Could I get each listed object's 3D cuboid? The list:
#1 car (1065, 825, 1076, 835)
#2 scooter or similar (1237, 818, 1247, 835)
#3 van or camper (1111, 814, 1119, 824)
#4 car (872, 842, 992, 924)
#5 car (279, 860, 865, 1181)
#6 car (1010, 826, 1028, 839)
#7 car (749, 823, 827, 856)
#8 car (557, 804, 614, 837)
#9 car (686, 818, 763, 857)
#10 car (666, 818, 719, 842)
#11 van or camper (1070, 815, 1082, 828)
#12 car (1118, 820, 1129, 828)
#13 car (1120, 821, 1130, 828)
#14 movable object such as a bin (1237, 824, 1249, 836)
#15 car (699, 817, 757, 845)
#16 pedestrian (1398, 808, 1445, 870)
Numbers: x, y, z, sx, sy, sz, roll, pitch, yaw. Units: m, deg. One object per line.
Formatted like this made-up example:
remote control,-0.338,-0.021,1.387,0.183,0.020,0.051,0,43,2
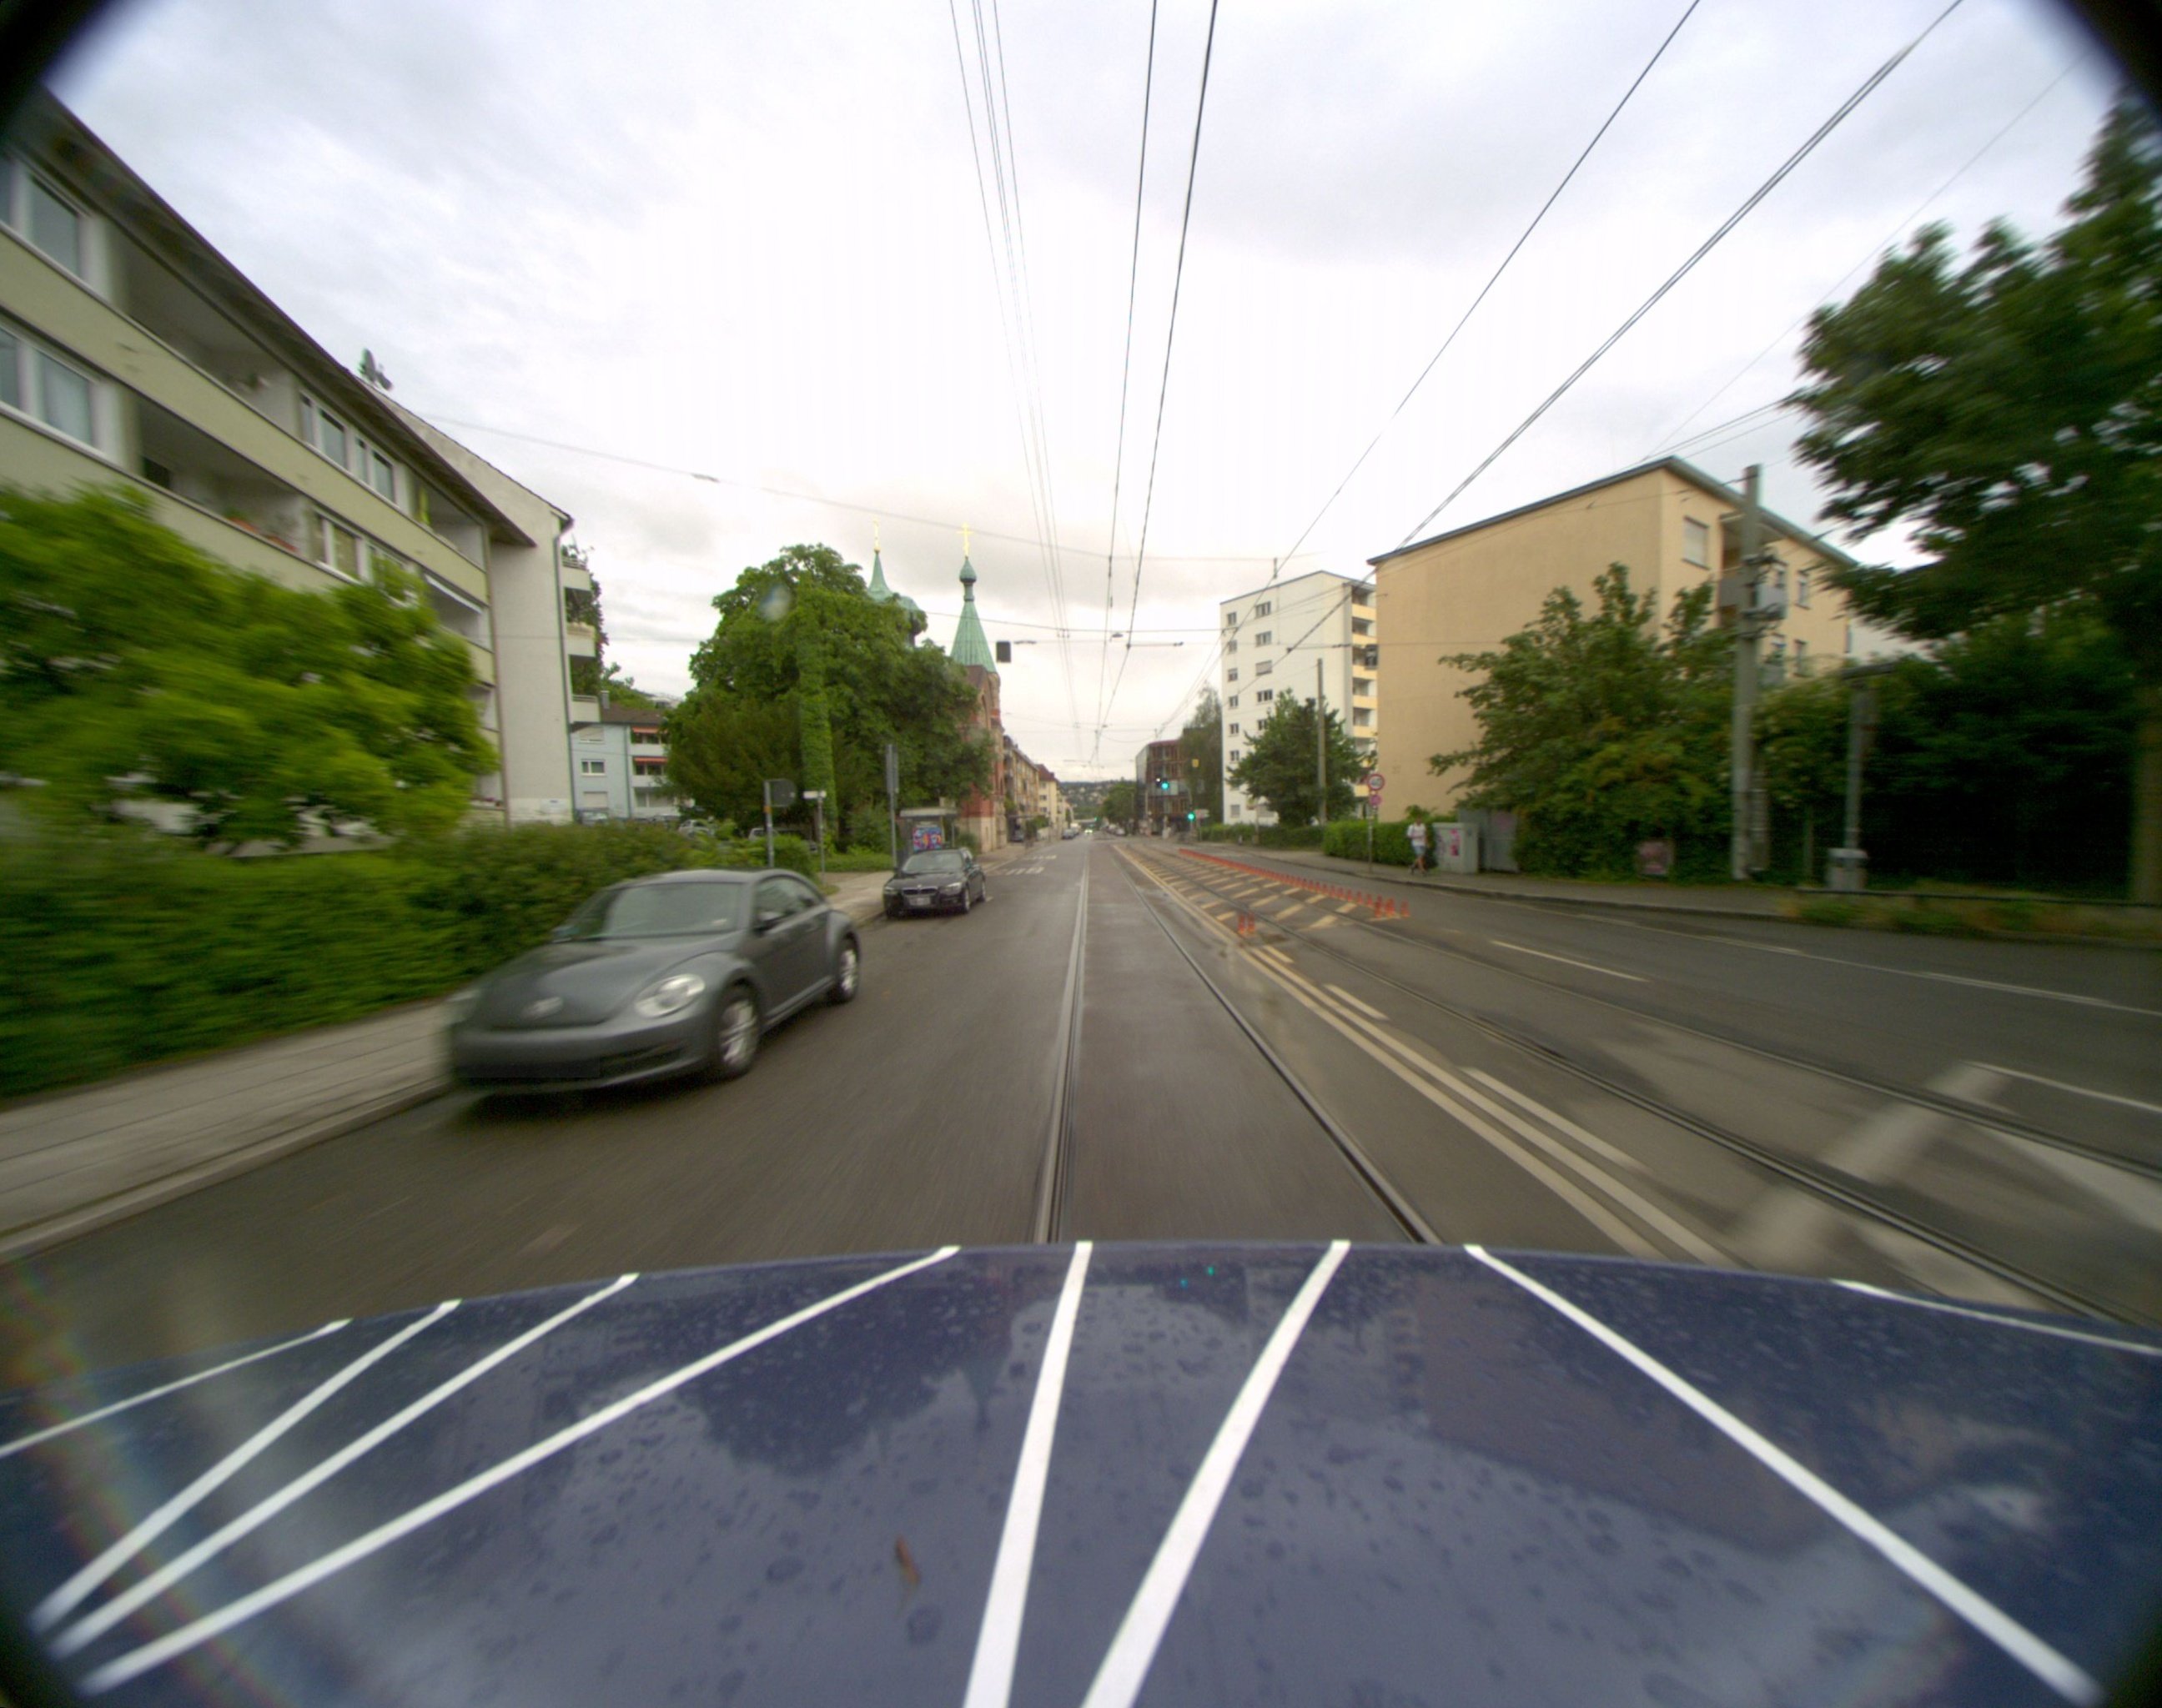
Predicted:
car,-1.754,-4.093,129.794,1.734,1.452,4.475,-3,4,0
scooter or similar,12.098,-2.089,57.192,0.573,1.178,1.599,-2,4,7
van or camper,9.757,-10.060,217.951,2.143,2.589,5.547,-3,4,2
car,-3.327,0.554,17.882,1.862,1.479,4.642,-3,3,0
car,-3.356,0.933,6.254,1.945,1.456,4.204,-3,3,-1
car,-7.919,-2.750,97.690,1.858,1.495,4.446,1,4,1
car,-15.001,-0.748,38.860,4.371,1.550,1.845,1,5,42
car,-32.190,-2.168,49.307,3.988,1.967,2.003,1,5,42
car,-17.115,-0.785,36.397,4.189,1.686,1.845,1,5,44
car,-25.389,-1.561,49.611,3.824,1.437,1.746,1,5,43
van or camper,-1.185,-8.445,197.338,2.753,3.042,7.026,-2,4,2
car,8.212,-5.826,146.711,1.862,1.387,4.642,-1,3,0
car,9.353,-6.219,162.077,1.727,1.456,4.327,-1,2,-3
movable object such as a bin,12.543,-1.844,58.978,0.688,0.877,0.759,-3,4,-4
car,-21.645,-1.421,46.534,3.984,1.556,1.845,1,5,44
pedestrian,10.518,-0.484,23.517,0.921,1.836,1.016,-4,4,-4
